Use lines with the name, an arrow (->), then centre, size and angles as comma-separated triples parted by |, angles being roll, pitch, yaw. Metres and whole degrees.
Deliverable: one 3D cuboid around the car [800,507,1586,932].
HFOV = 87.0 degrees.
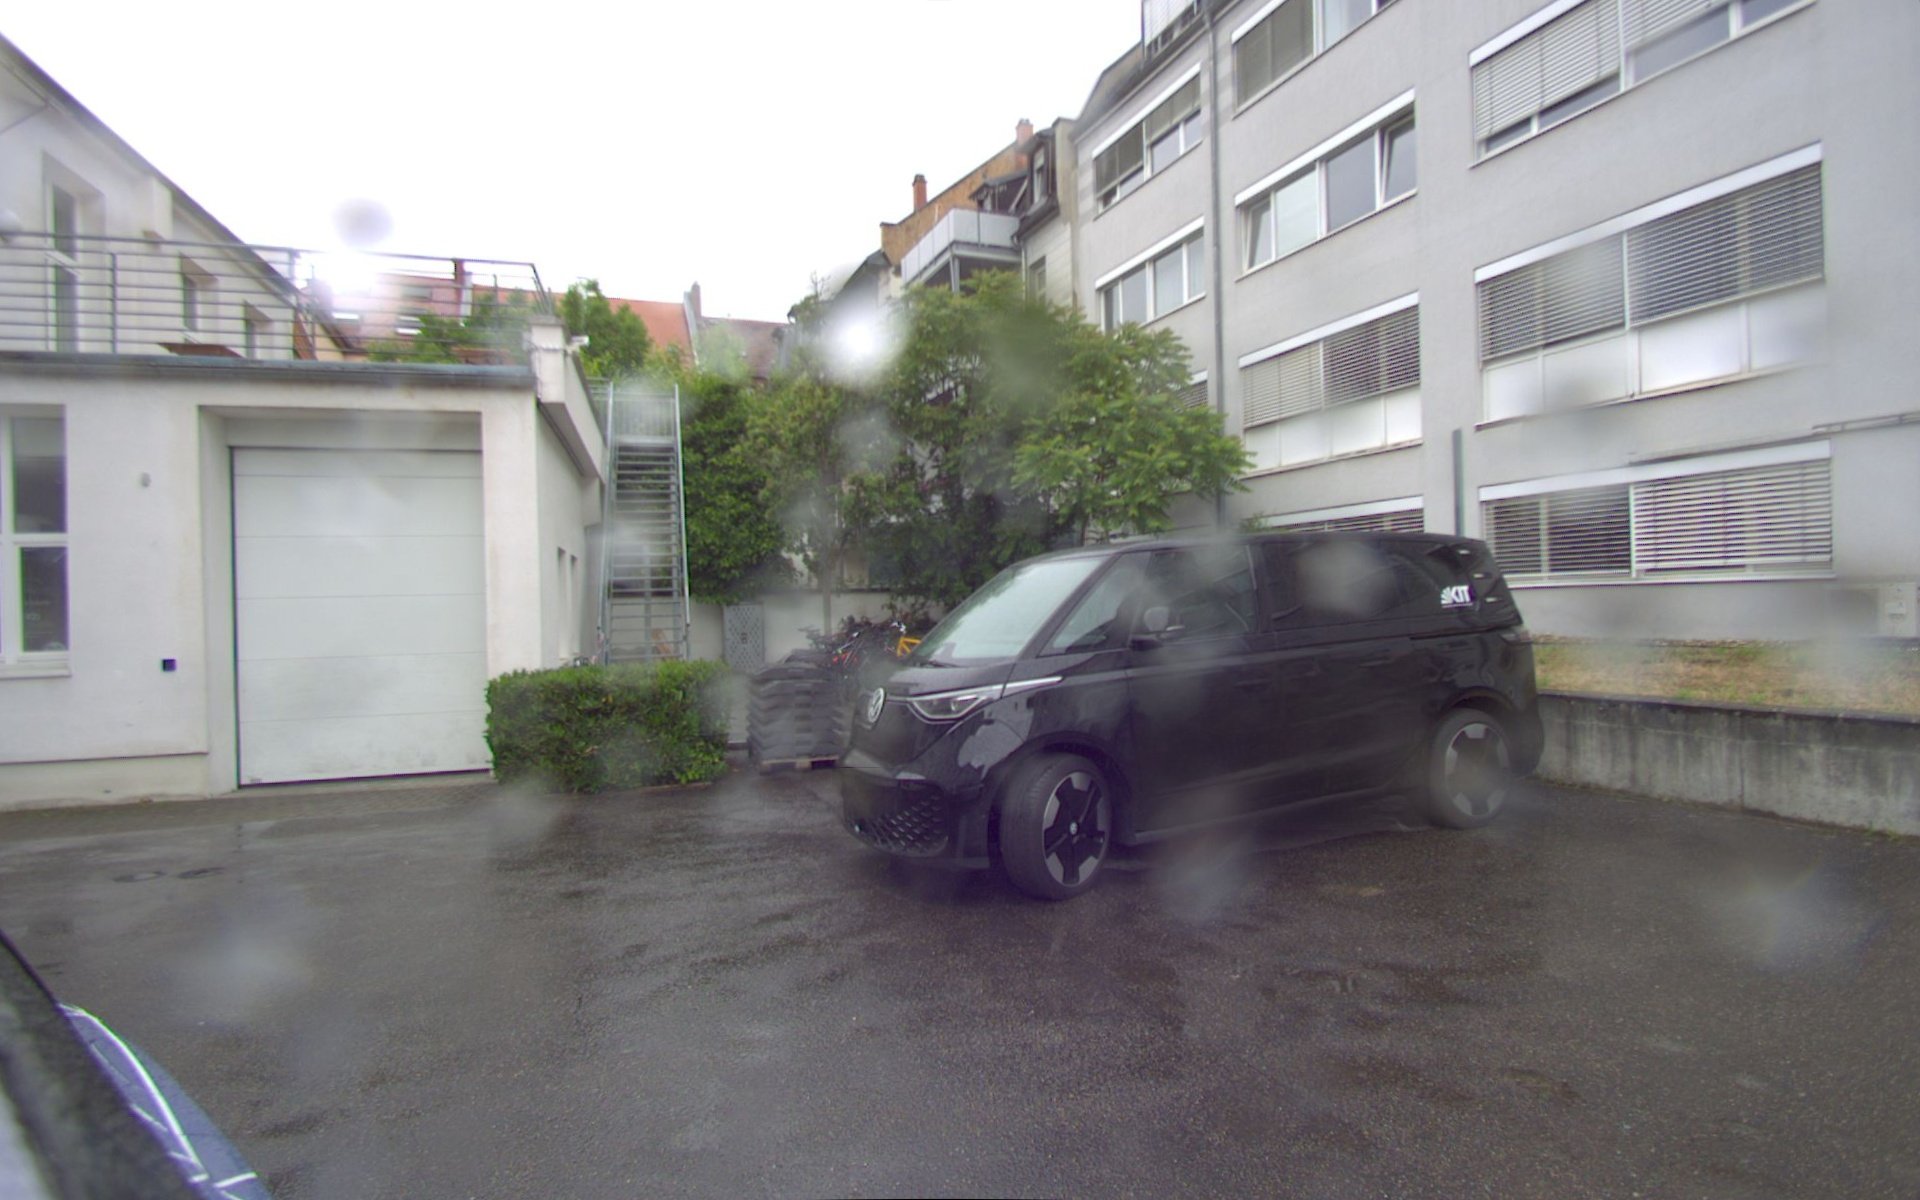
car -> 1.458, 0.511, 6.409 | 4.444, 1.912, 2.053 | -2, -1, -24
